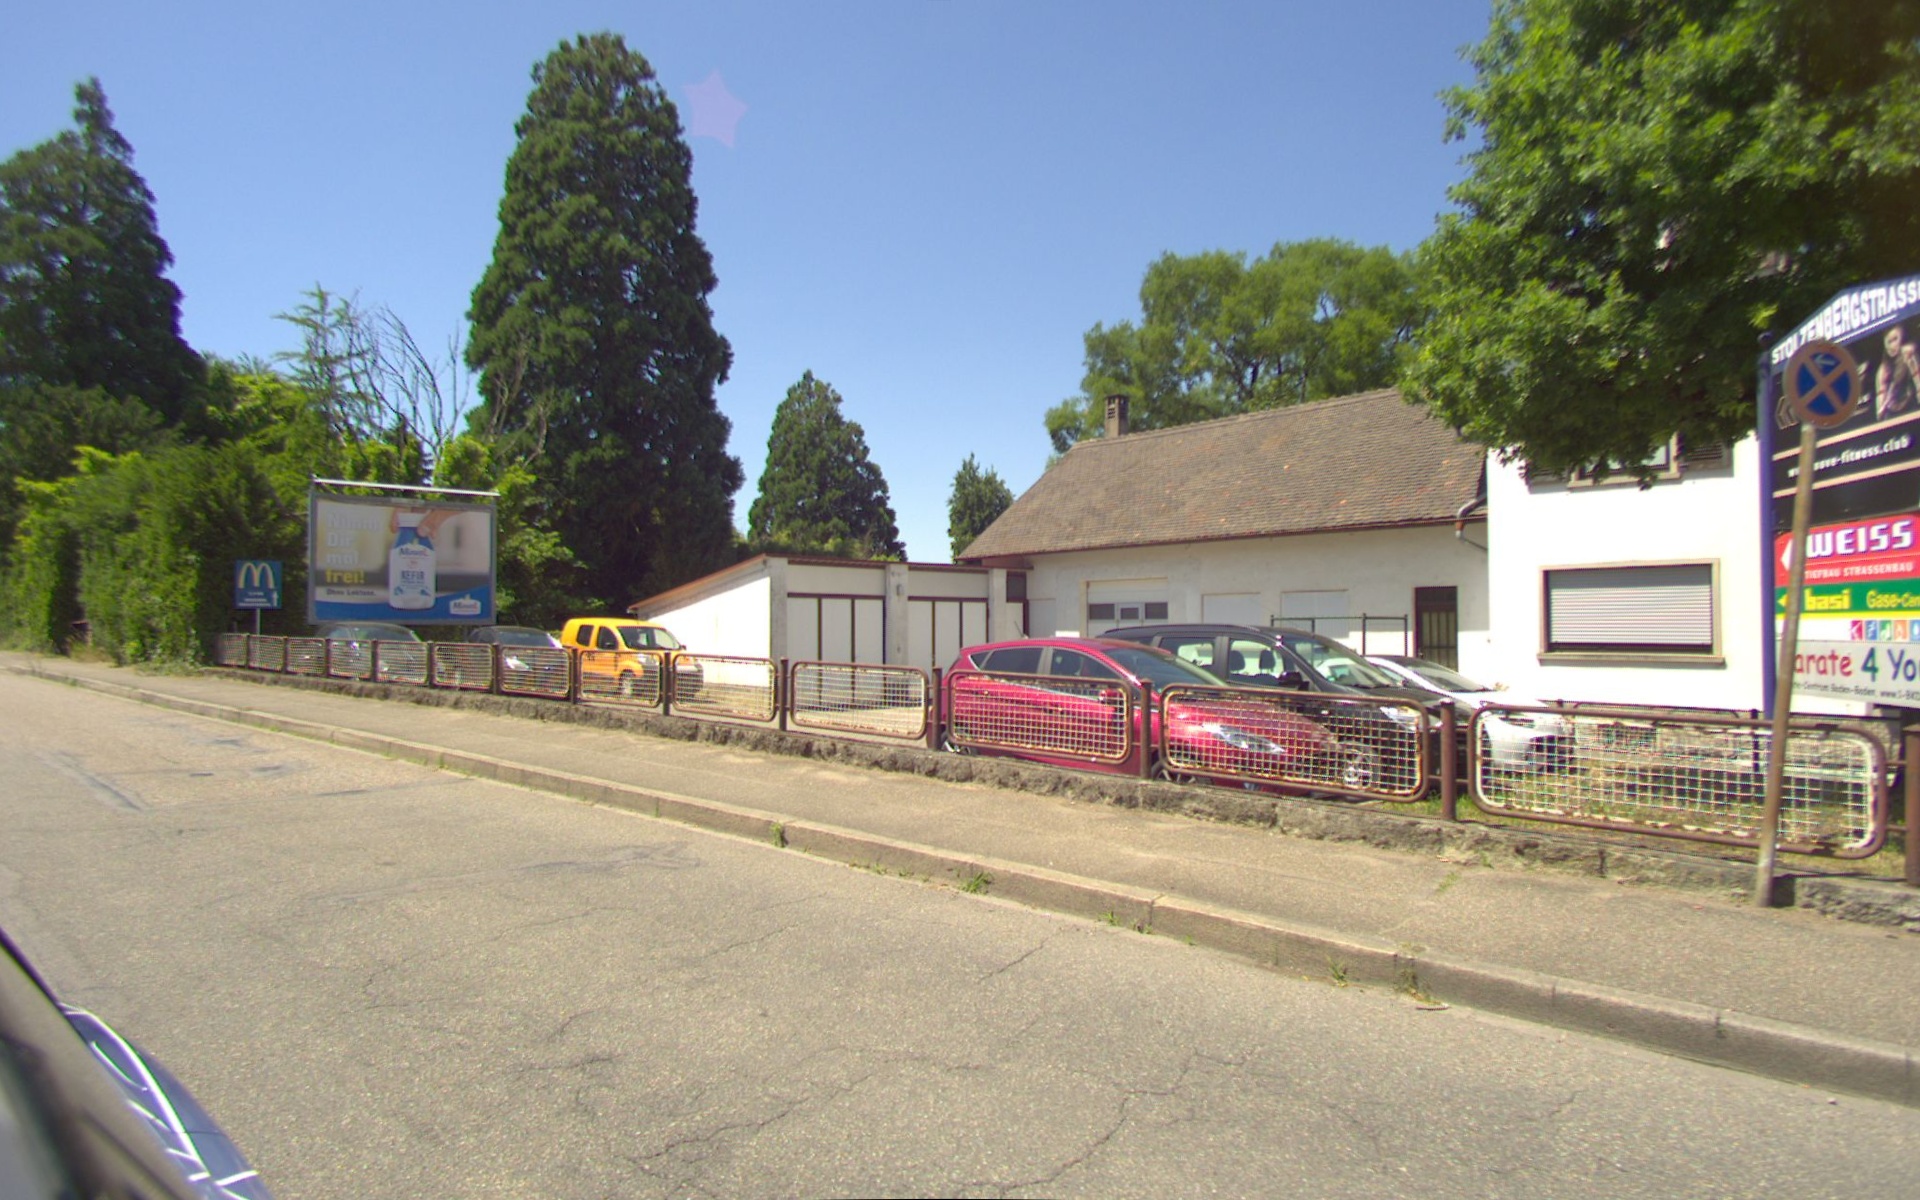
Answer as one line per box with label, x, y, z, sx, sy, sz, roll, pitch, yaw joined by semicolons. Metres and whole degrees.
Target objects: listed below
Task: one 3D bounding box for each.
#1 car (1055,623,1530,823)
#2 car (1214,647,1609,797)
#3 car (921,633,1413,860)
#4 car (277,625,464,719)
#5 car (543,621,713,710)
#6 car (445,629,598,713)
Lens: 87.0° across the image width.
car;3.318;1.124;10.931;1.772;1.691;4.631;3;-3;-41
car;5.302;1.327;12.253;1.773;1.445;4.003;3;-3;-44
car;1.653;1.091;9.026;1.773;1.530;4.003;3;-3;-44
car;-11.383;1.314;19.445;3.996;1.530;1.776;1;-2;39
car;-7.648;1.435;23.160;3.996;1.755;1.776;1;-2;39
car;-9.431;1.455;21.609;1.772;1.530;4.005;3;-2;-42
